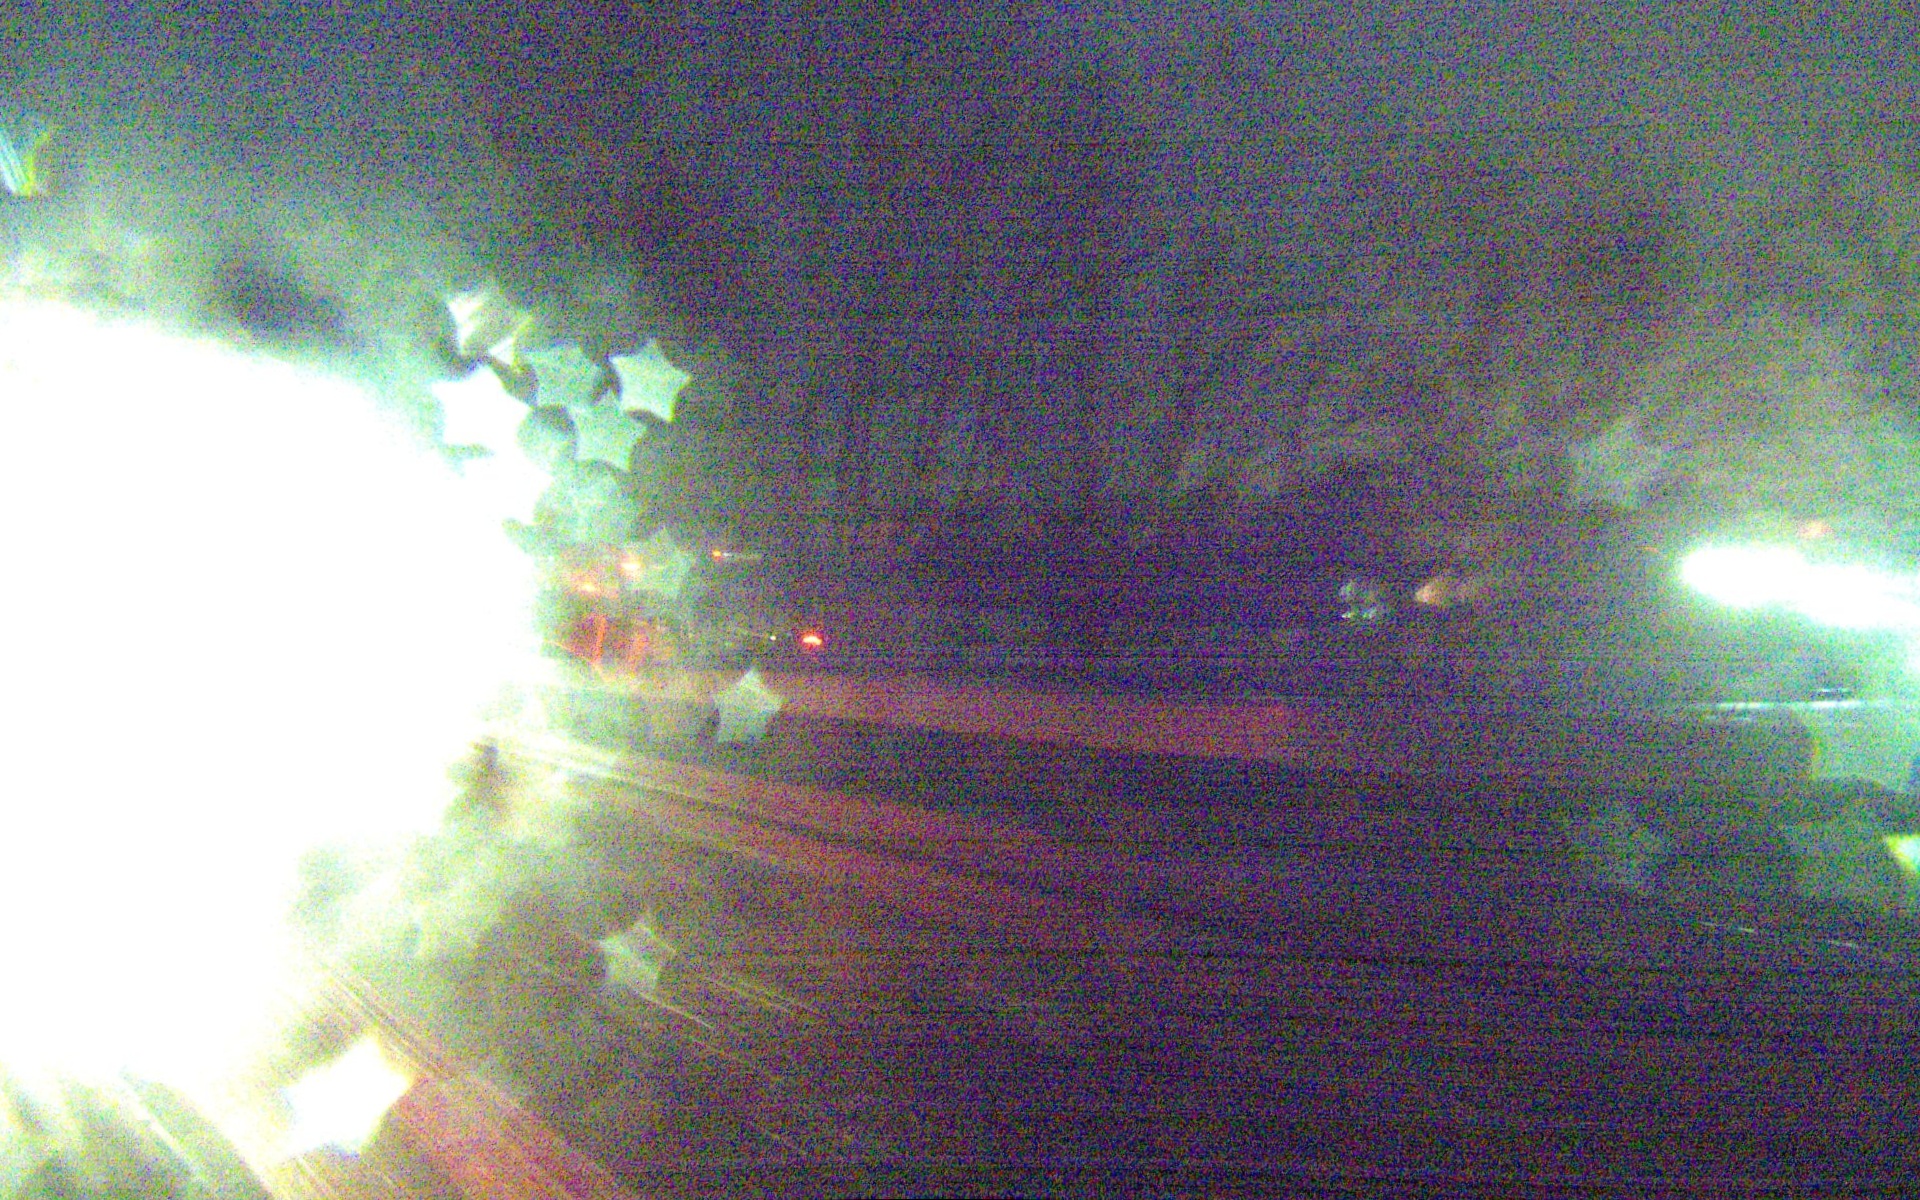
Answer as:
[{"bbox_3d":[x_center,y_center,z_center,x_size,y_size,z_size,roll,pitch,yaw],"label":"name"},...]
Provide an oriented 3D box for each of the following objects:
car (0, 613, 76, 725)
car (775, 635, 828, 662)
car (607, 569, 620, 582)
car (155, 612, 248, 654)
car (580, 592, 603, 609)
[{"bbox_3d":[-14.073,0.937,14.583,1.660,1.462,3.651,0,0,-35],"label":"car"},{"bbox_3d":[-9.765,2.977,62.289,1.483,1.438,3.434,1,0,-44],"label":"car"},{"bbox_3d":[-49.683,-3.516,145.030,1.733,1.501,4.060,0,4,-20],"label":"car"},{"bbox_3d":[-25.501,1.083,34.171,1.731,1.322,4.099,1,-1,-26],"label":"car"},{"bbox_3d":[-37.589,0.003,103.108,1.715,1.436,4.114,-2,4,-27],"label":"car"}]
